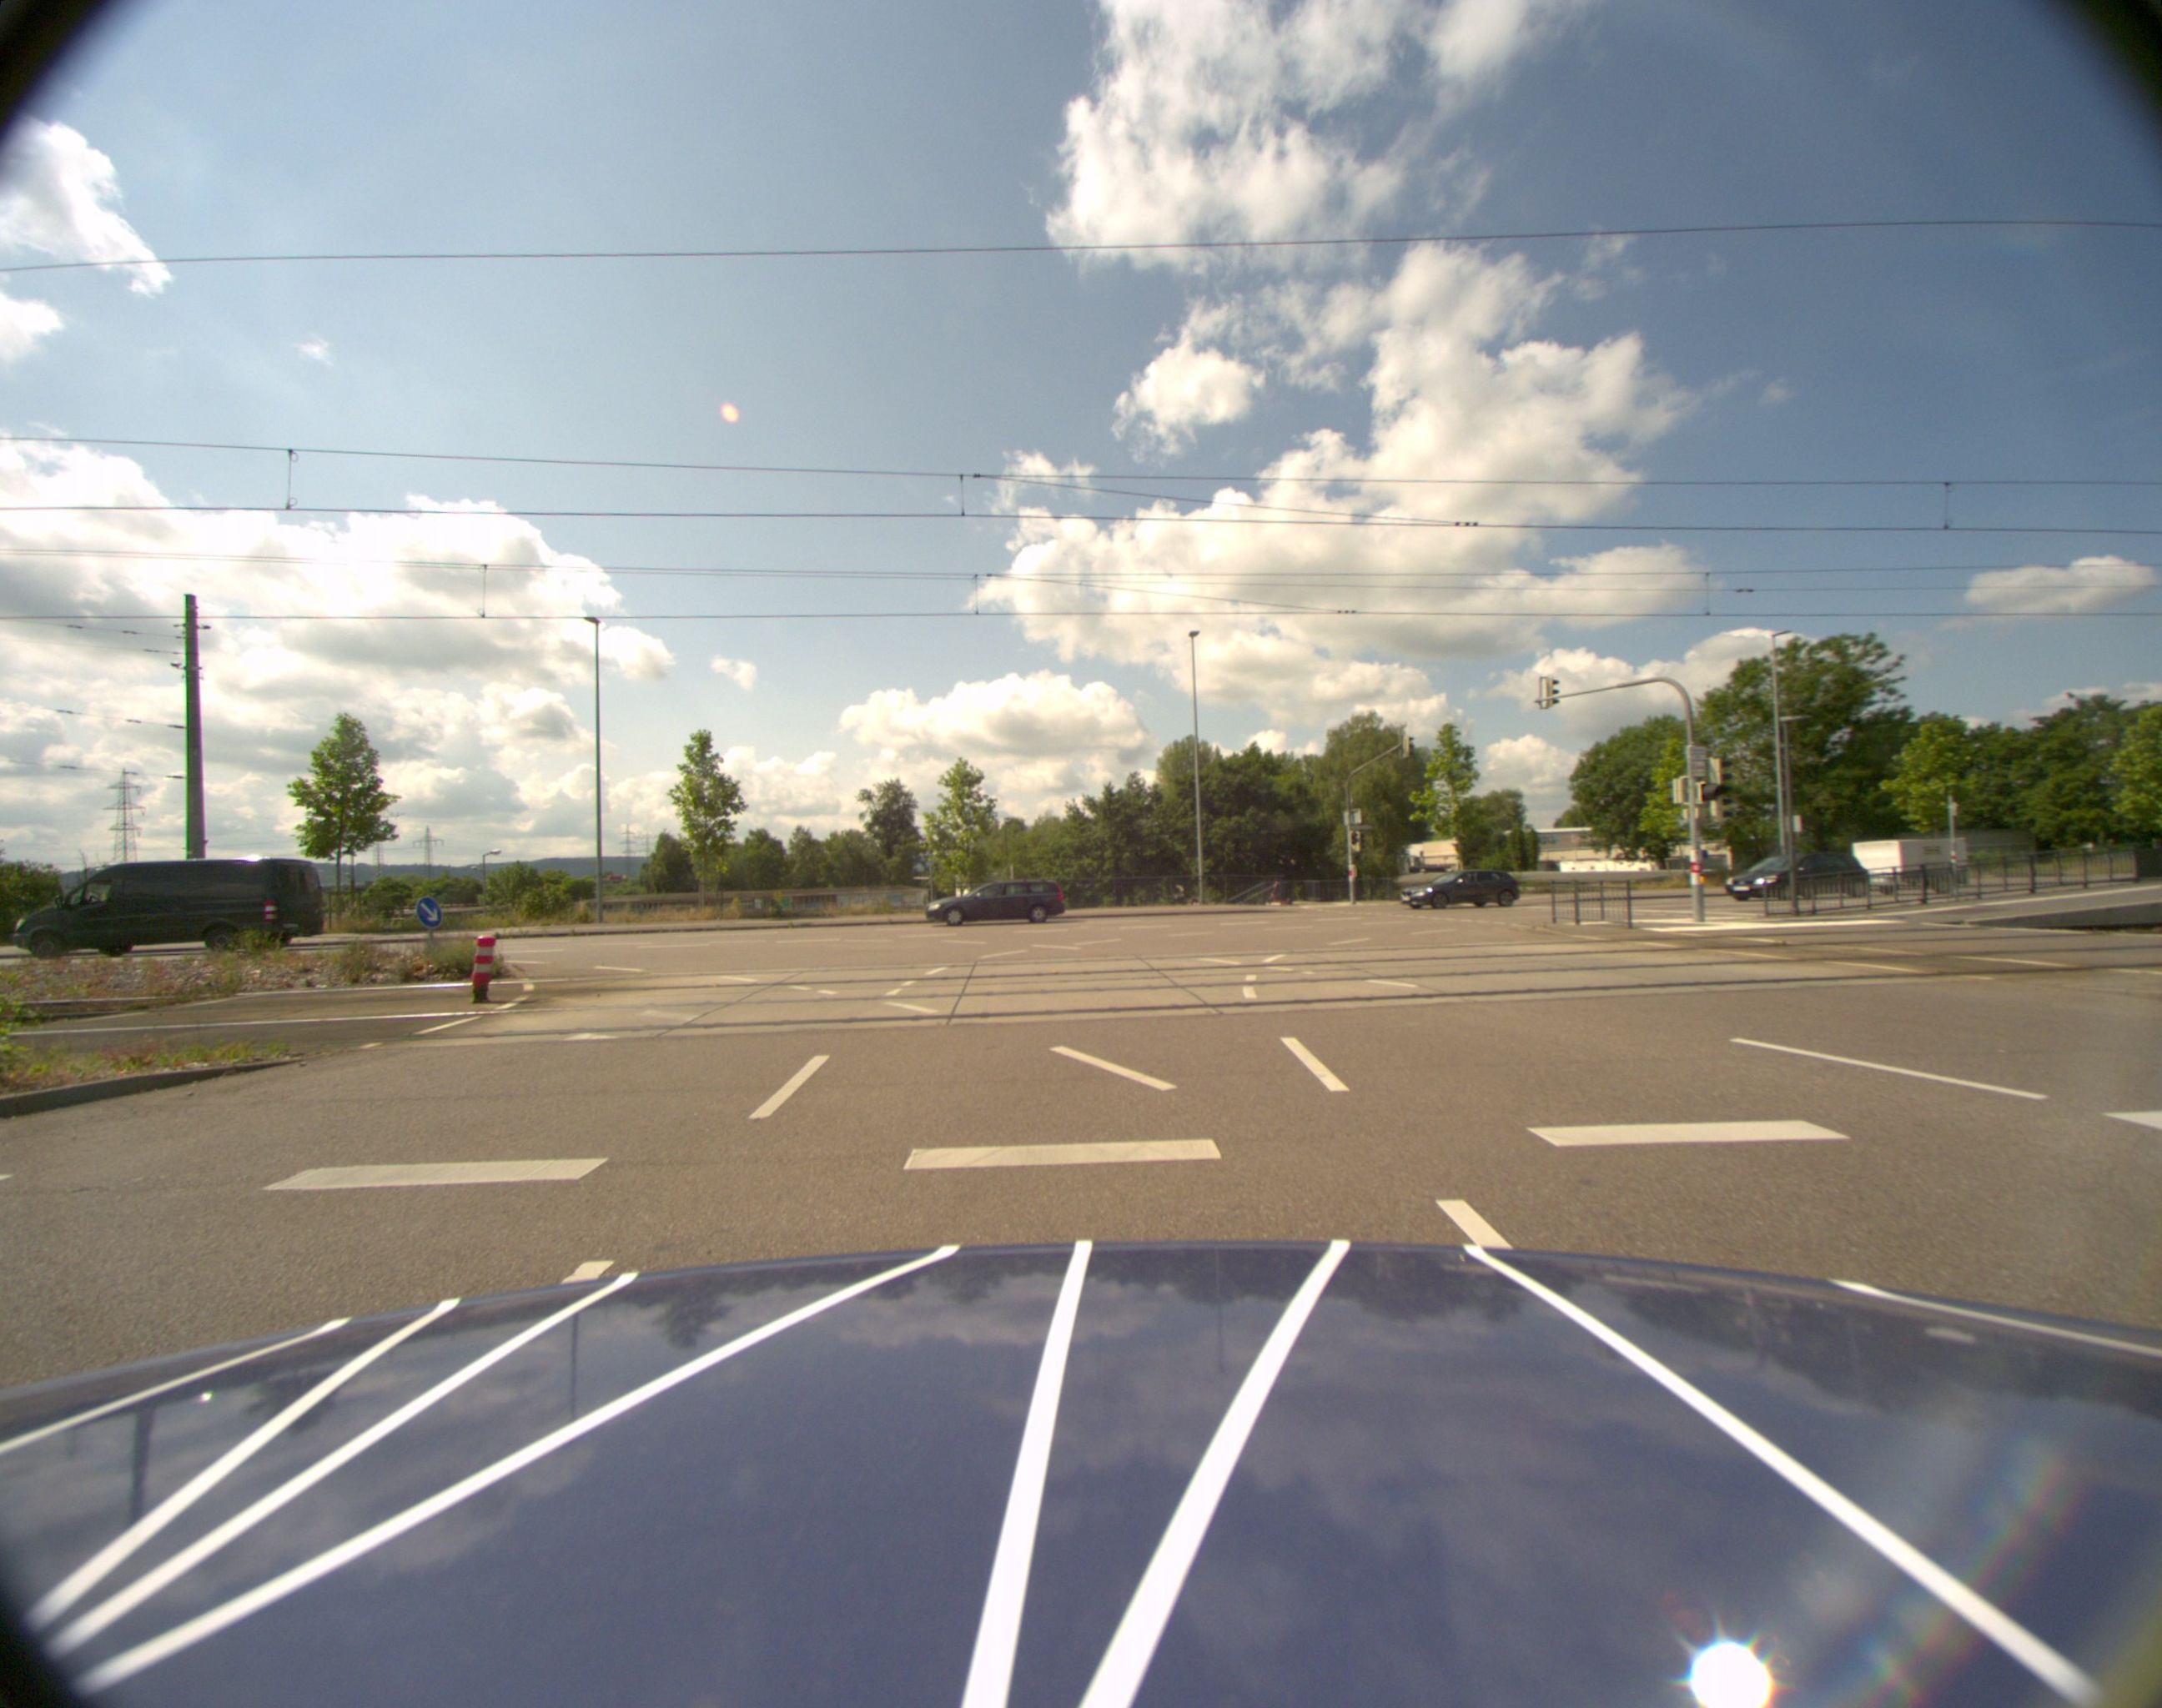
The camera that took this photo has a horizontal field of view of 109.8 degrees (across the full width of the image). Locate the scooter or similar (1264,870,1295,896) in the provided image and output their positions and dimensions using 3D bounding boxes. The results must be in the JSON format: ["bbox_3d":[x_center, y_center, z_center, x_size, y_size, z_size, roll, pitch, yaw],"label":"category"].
[{"bbox_3d":[8.820,1.294,33.806,1.249,1.092,0.343,-1,0,-6],"label":"scooter or similar"}]

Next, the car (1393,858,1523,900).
[{"bbox_3d":[14.302,0.960,28.976,4.067,1.438,1.730,-2,-1,-1],"label":"car"}]

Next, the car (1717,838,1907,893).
[{"bbox_3d":[25.349,0.386,26.404,5.252,1.564,1.999,-3,-1,-10],"label":"car"}]

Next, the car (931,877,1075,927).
[{"bbox_3d":[-2.754,1.642,26.495,4.782,1.499,1.966,-2,-2,-10],"label":"car"}]

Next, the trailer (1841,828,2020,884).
[{"bbox_3d":[30.524,0.057,27.346,5.183,1.820,1.823,-2,0,-10],"label":"trailer"}]

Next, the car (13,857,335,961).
[{"bbox_3d":[-25.141,1.483,21.362,5.679,2.588,1.991,-1,-3,-15],"label":"car"}]
